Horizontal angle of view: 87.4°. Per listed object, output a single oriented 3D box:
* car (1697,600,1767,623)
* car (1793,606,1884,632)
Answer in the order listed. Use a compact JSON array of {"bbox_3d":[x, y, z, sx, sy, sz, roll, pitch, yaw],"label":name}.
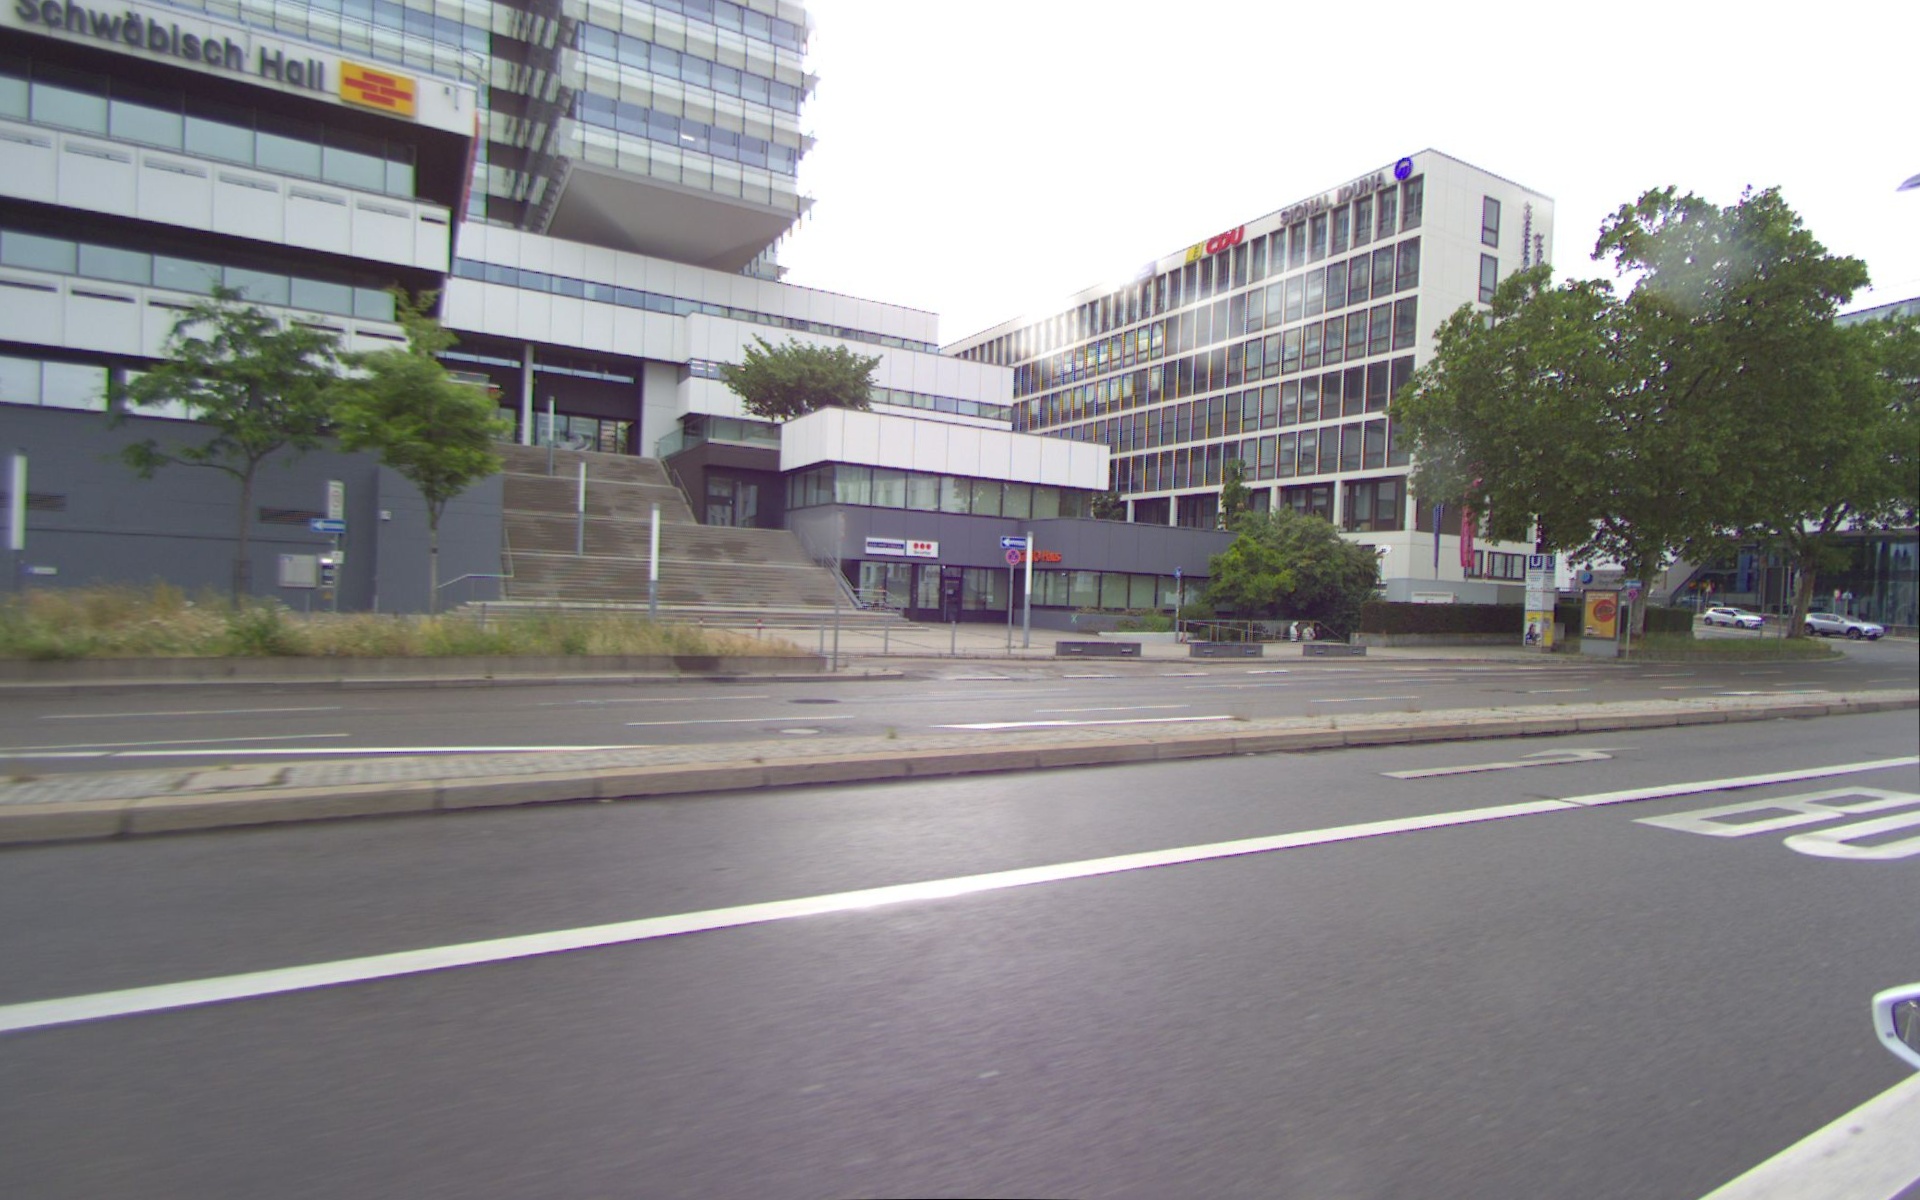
[{"bbox_3d":[59.756,0.858,77.814,1.862,1.653,3.990,2,0,-13],"label":"car"},{"bbox_3d":[61.040,1.315,69.860,1.862,1.653,4.505,2,0,-13],"label":"car"}]
